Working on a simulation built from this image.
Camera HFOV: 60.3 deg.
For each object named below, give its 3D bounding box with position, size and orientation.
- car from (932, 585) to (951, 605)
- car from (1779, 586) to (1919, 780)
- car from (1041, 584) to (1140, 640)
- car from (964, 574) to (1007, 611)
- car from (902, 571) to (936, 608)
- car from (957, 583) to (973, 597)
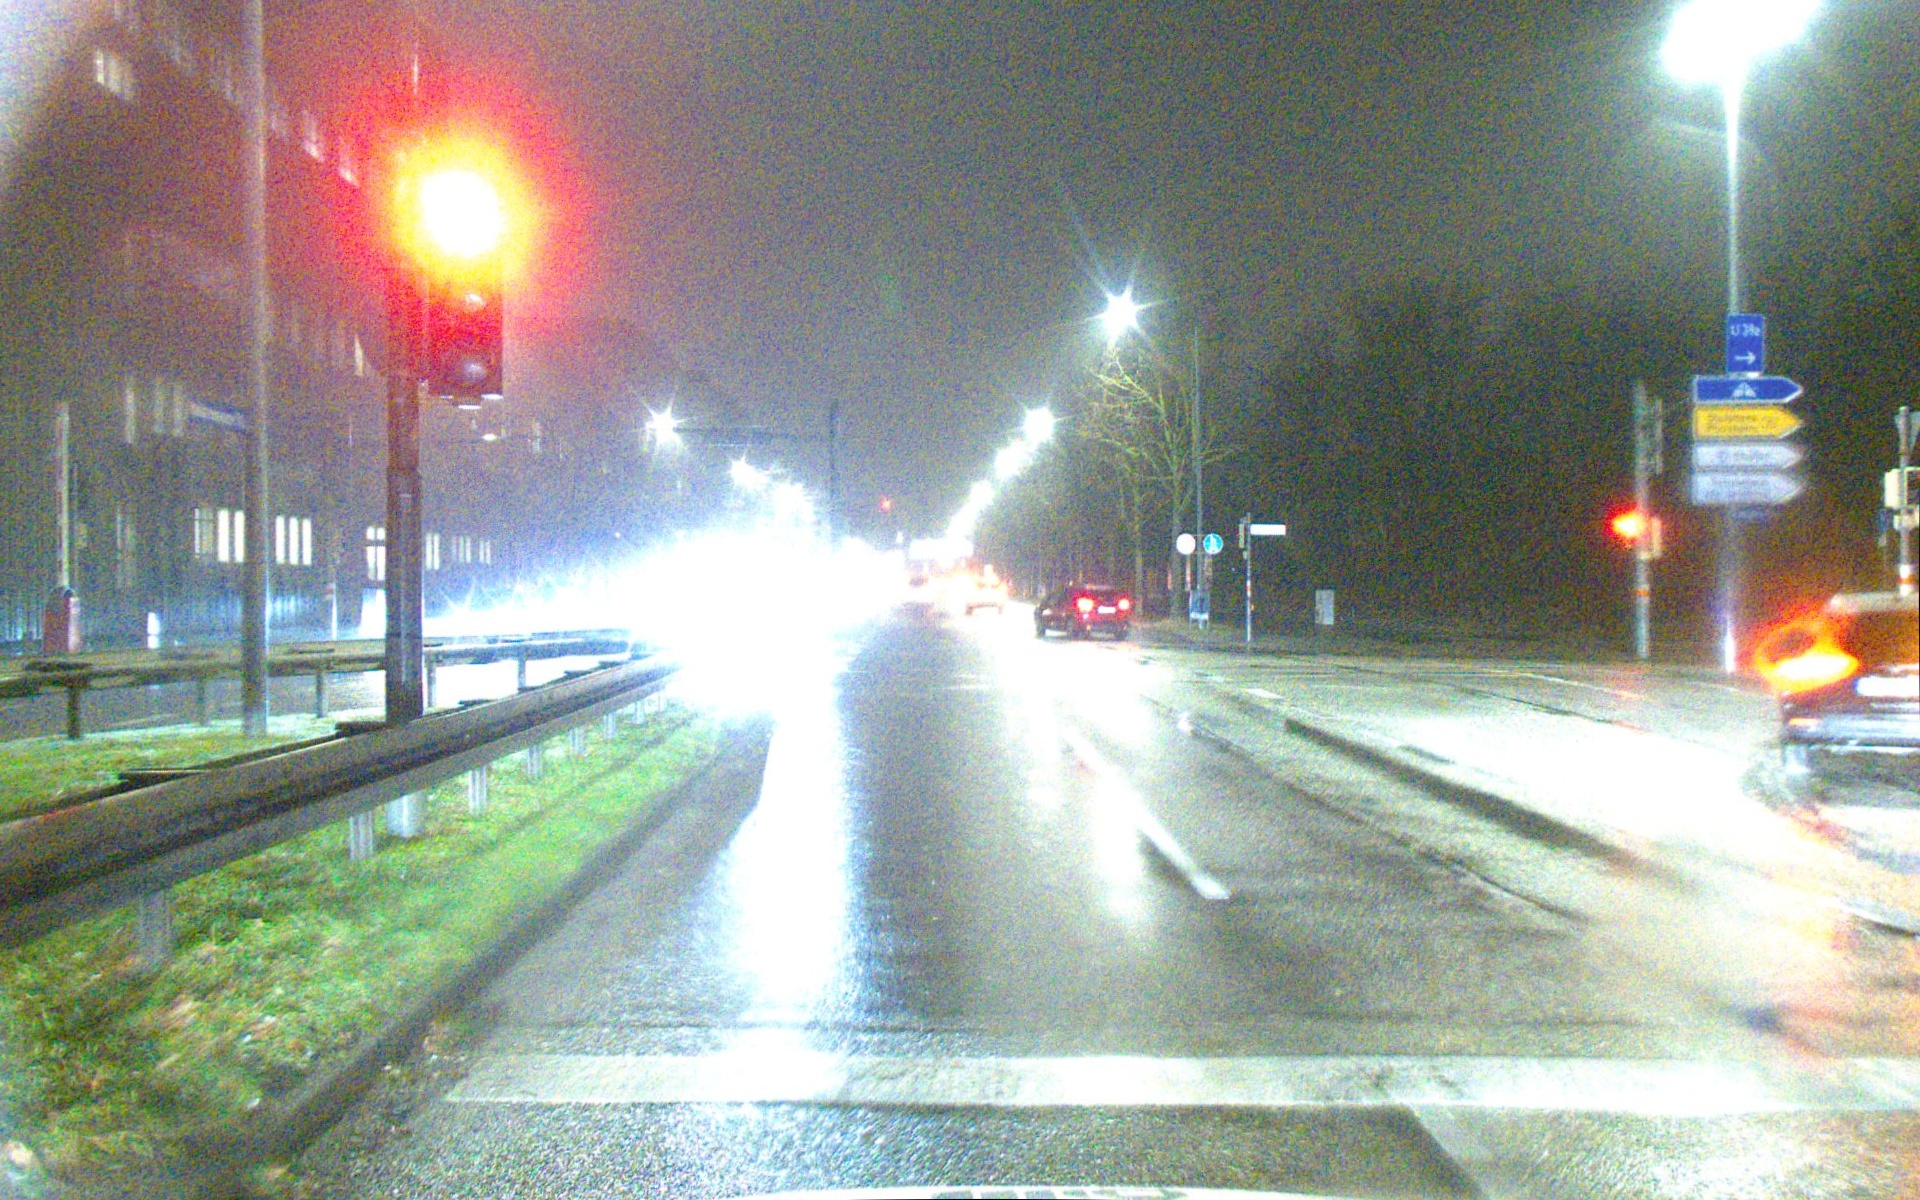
[{"bbox_3d":[-1.792,-0.480,159.861,1.755,1.907,4.625,1,0,-2],"label":"car"},{"bbox_3d":[8.480,0.682,15.078,1.801,1.504,4.624,1,0,26],"label":"car"},{"bbox_3d":[3.711,0.328,47.628,1.759,1.513,4.142,1,0,-11],"label":"car"},{"bbox_3d":[1.201,-0.345,78.933,1.755,1.708,4.426,1,0,-3],"label":"car"},{"bbox_3d":[-2.219,-0.558,88.645,1.755,1.907,4.625,1,0,-2],"label":"car"},{"bbox_3d":[0.642,-1.311,220.941,1.953,1.790,3.999,1,0,-1],"label":"car"}]
